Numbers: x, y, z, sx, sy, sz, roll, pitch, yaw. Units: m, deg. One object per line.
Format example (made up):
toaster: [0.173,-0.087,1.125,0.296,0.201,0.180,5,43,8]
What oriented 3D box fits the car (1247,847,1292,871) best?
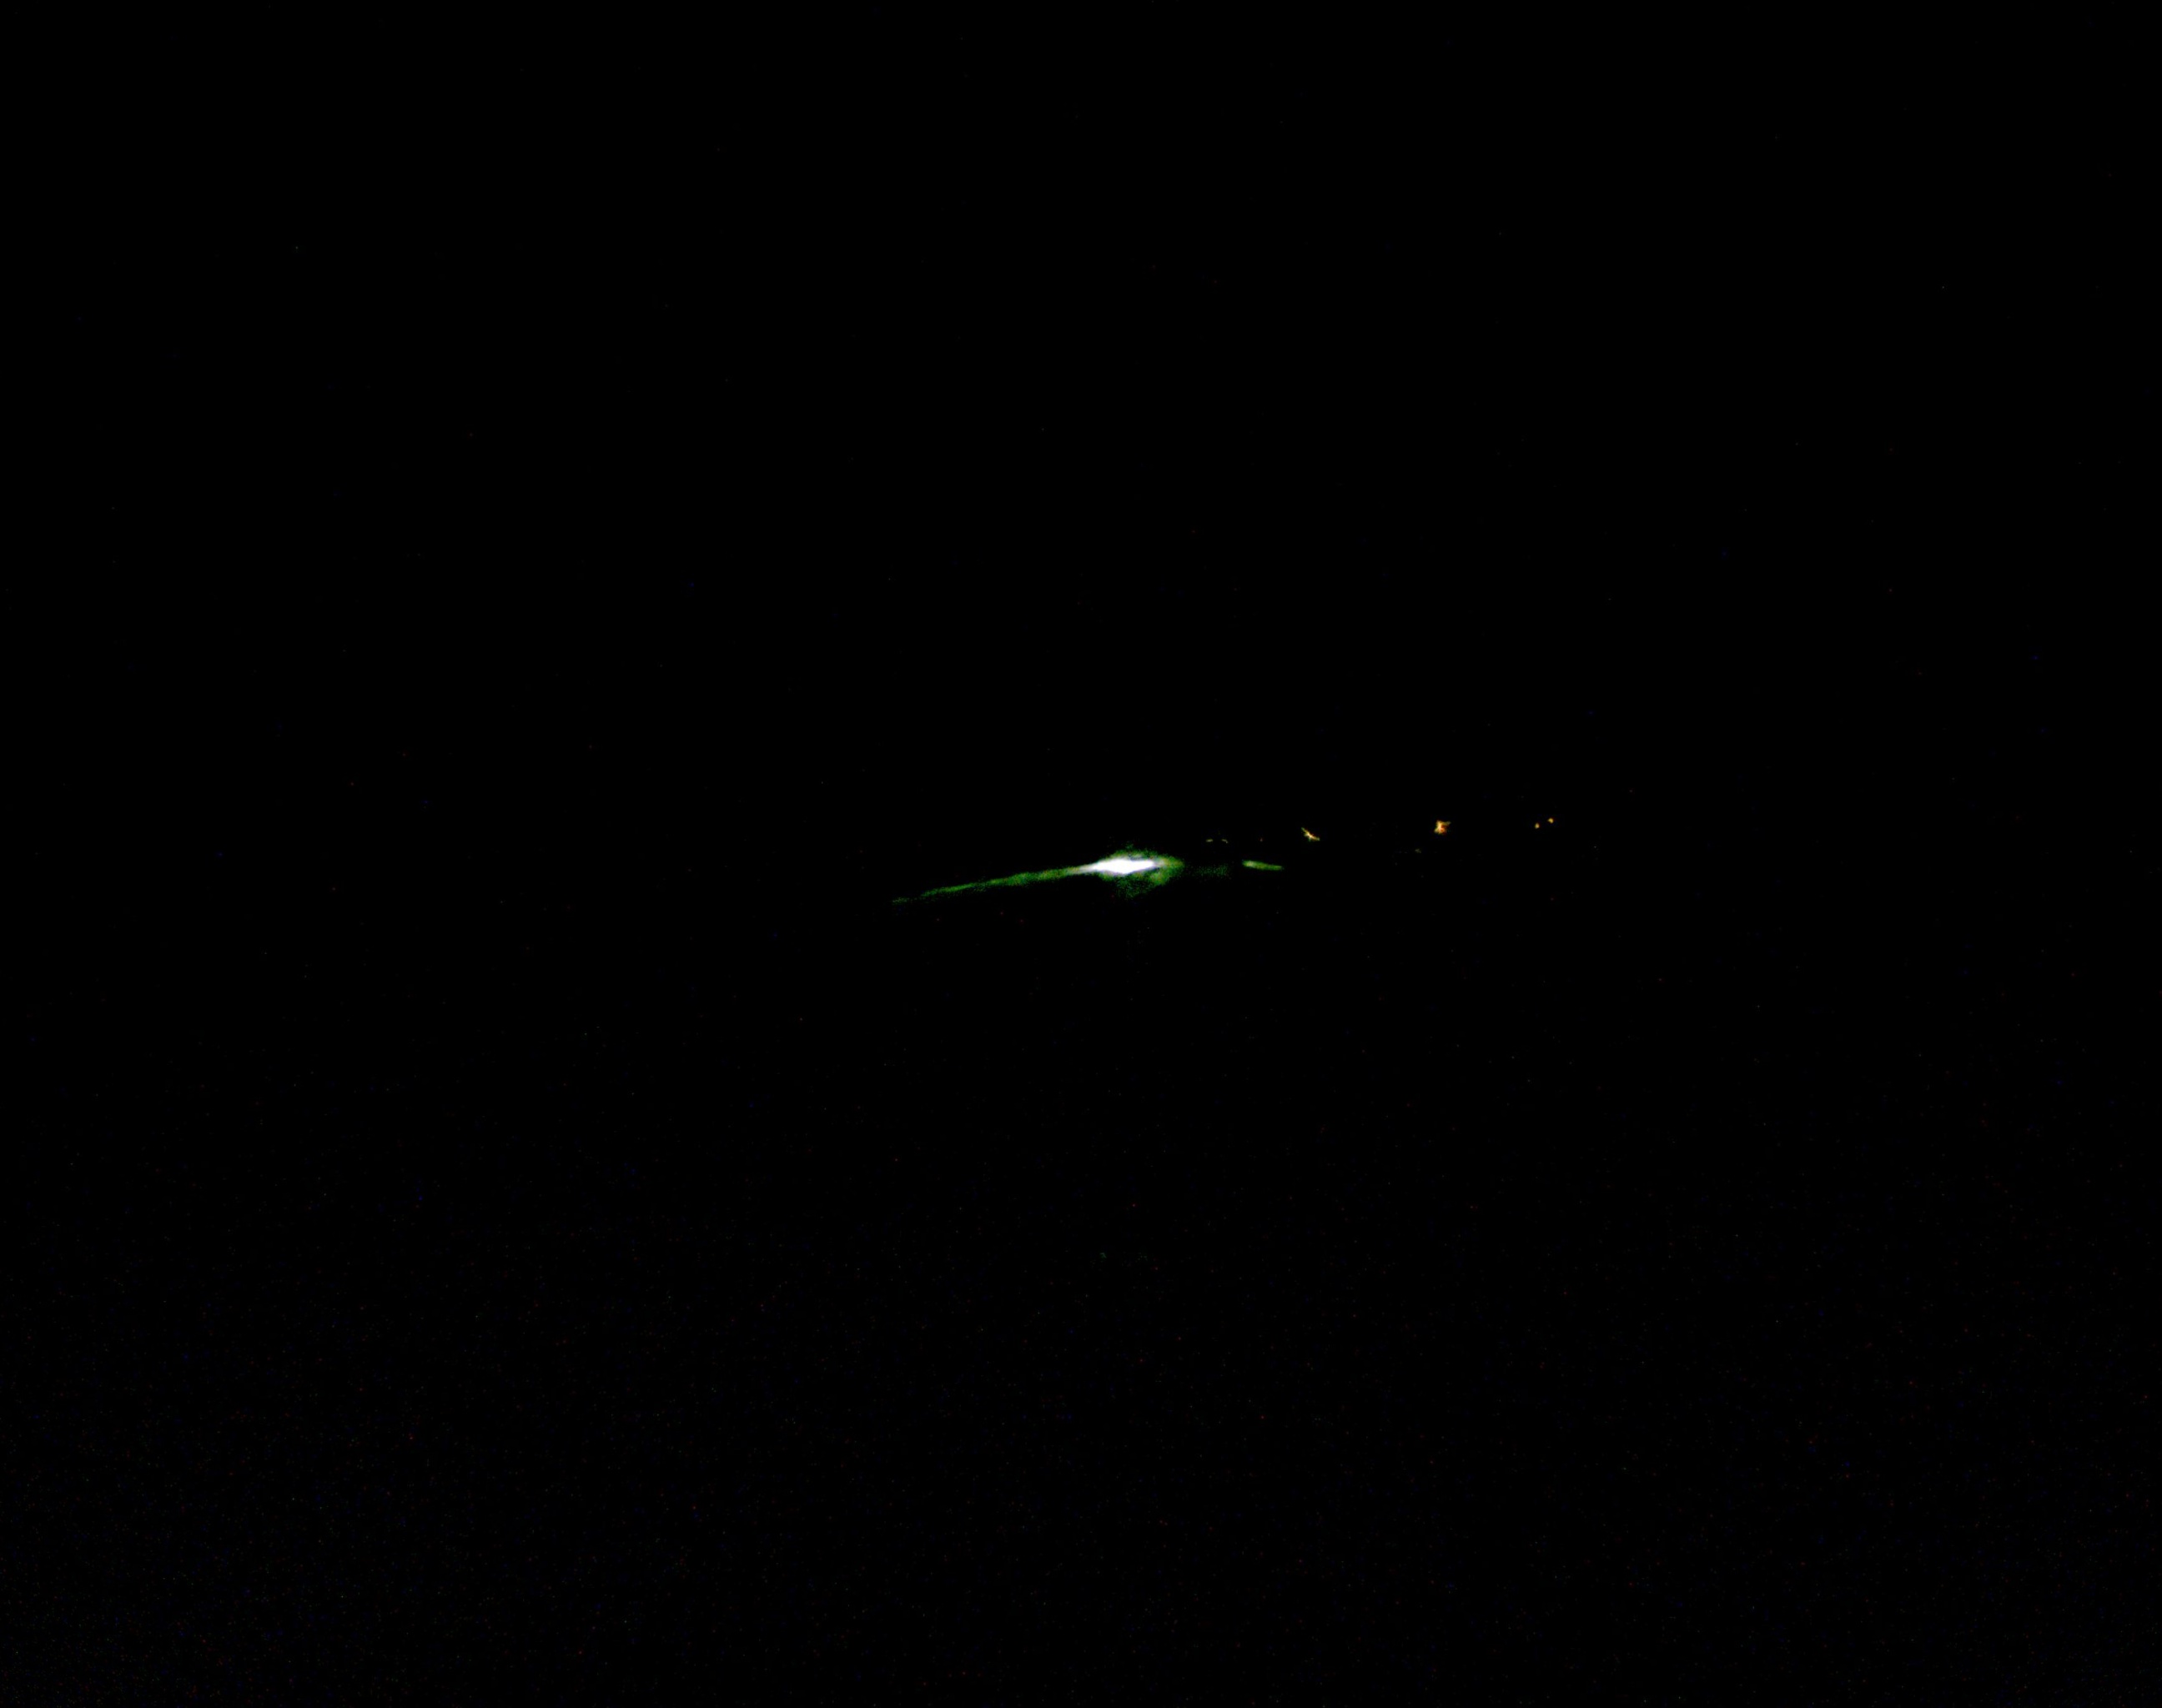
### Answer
car: [14.413,0.391,58.008,1.994,1.737,4.108,-1,0,35]
